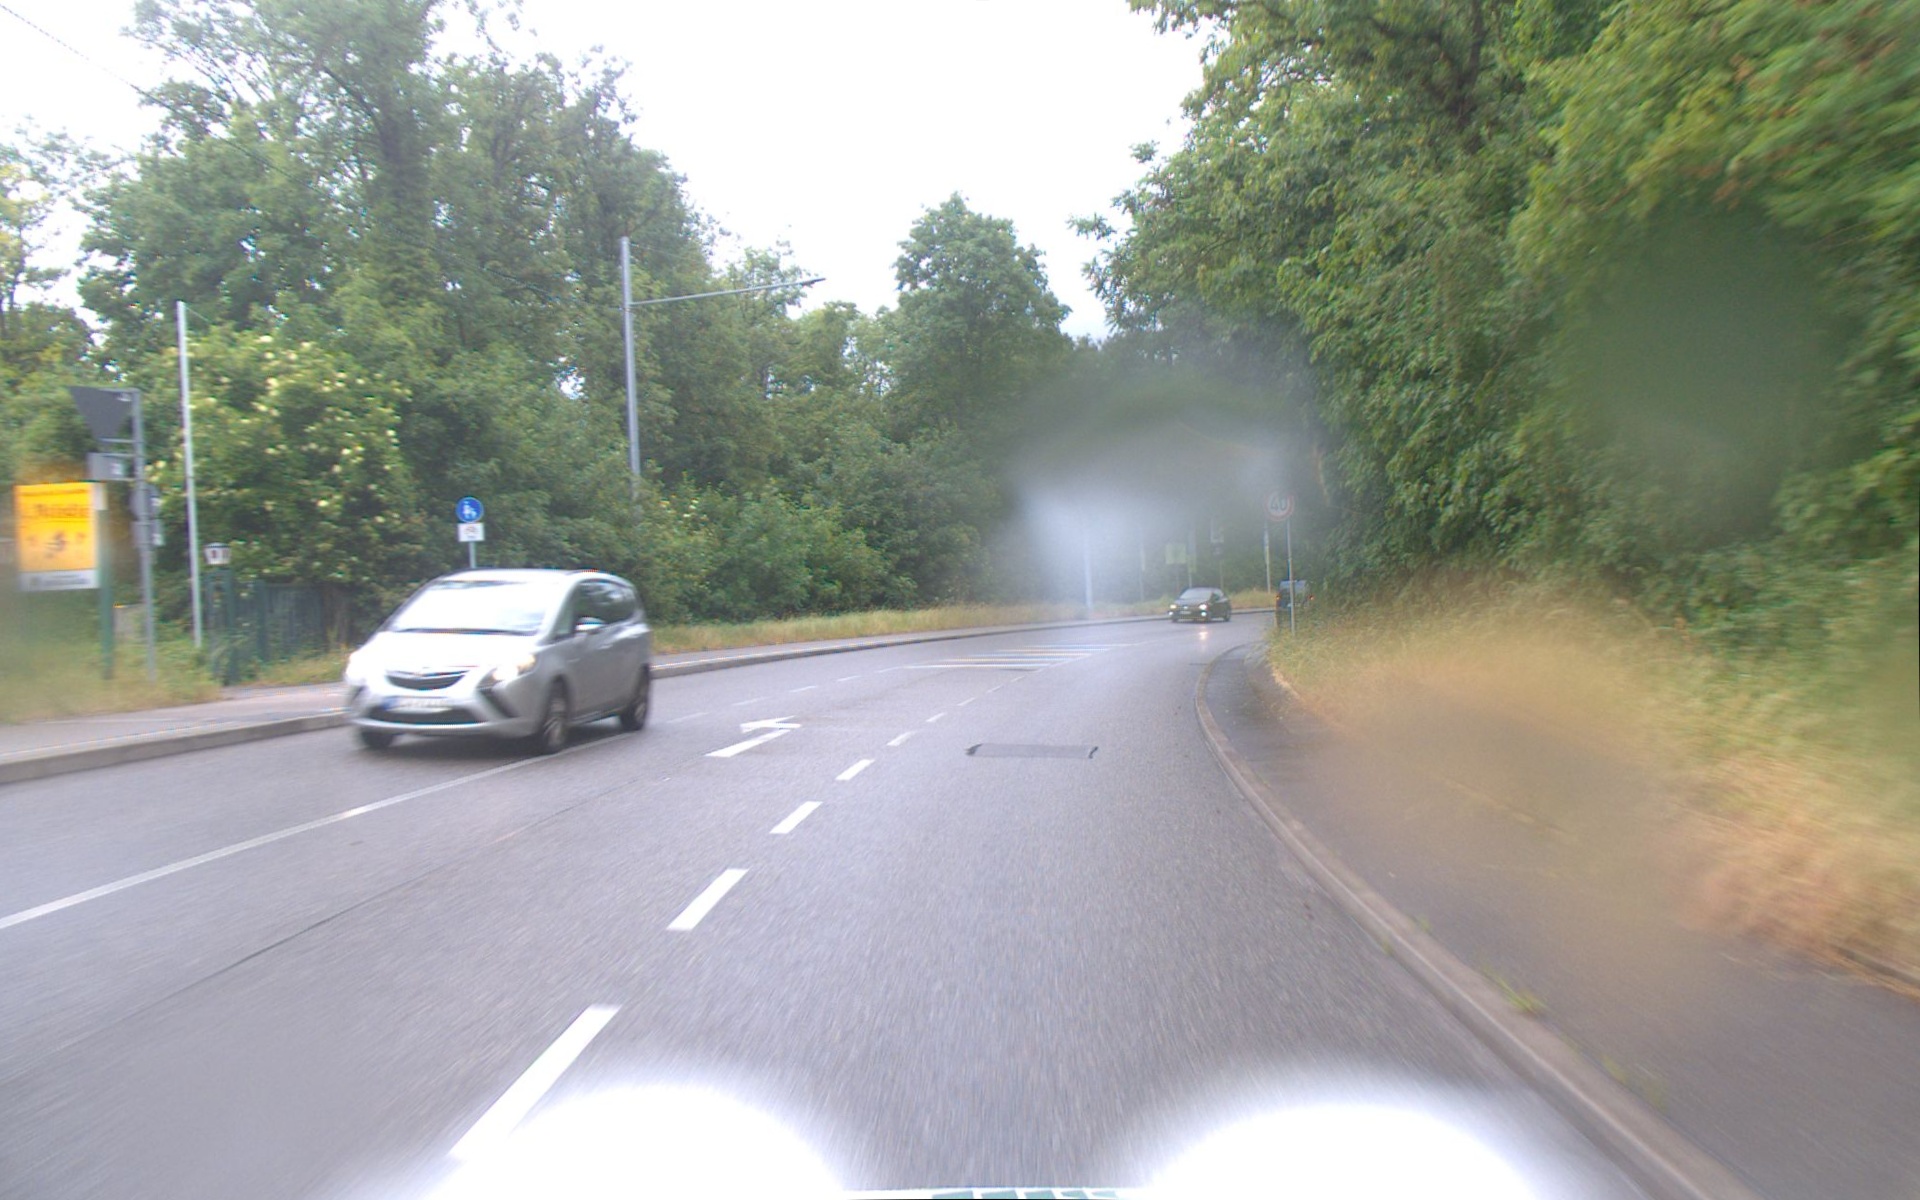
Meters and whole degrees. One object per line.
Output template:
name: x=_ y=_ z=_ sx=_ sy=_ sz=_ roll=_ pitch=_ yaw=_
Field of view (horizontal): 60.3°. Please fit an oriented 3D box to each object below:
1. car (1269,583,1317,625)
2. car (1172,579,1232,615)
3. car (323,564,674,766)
car: x=13.358 y=0.155 z=66.567 sx=1.632 sy=1.621 sz=3.686 roll=1 pitch=0 yaw=8
car: x=10.500 y=-0.127 z=71.490 sx=1.563 sy=1.503 sz=3.790 roll=1 pitch=1 yaw=25
car: x=-4.229 y=0.527 z=15.956 sx=1.721 sy=1.643 sz=4.421 roll=1 pitch=0 yaw=6
